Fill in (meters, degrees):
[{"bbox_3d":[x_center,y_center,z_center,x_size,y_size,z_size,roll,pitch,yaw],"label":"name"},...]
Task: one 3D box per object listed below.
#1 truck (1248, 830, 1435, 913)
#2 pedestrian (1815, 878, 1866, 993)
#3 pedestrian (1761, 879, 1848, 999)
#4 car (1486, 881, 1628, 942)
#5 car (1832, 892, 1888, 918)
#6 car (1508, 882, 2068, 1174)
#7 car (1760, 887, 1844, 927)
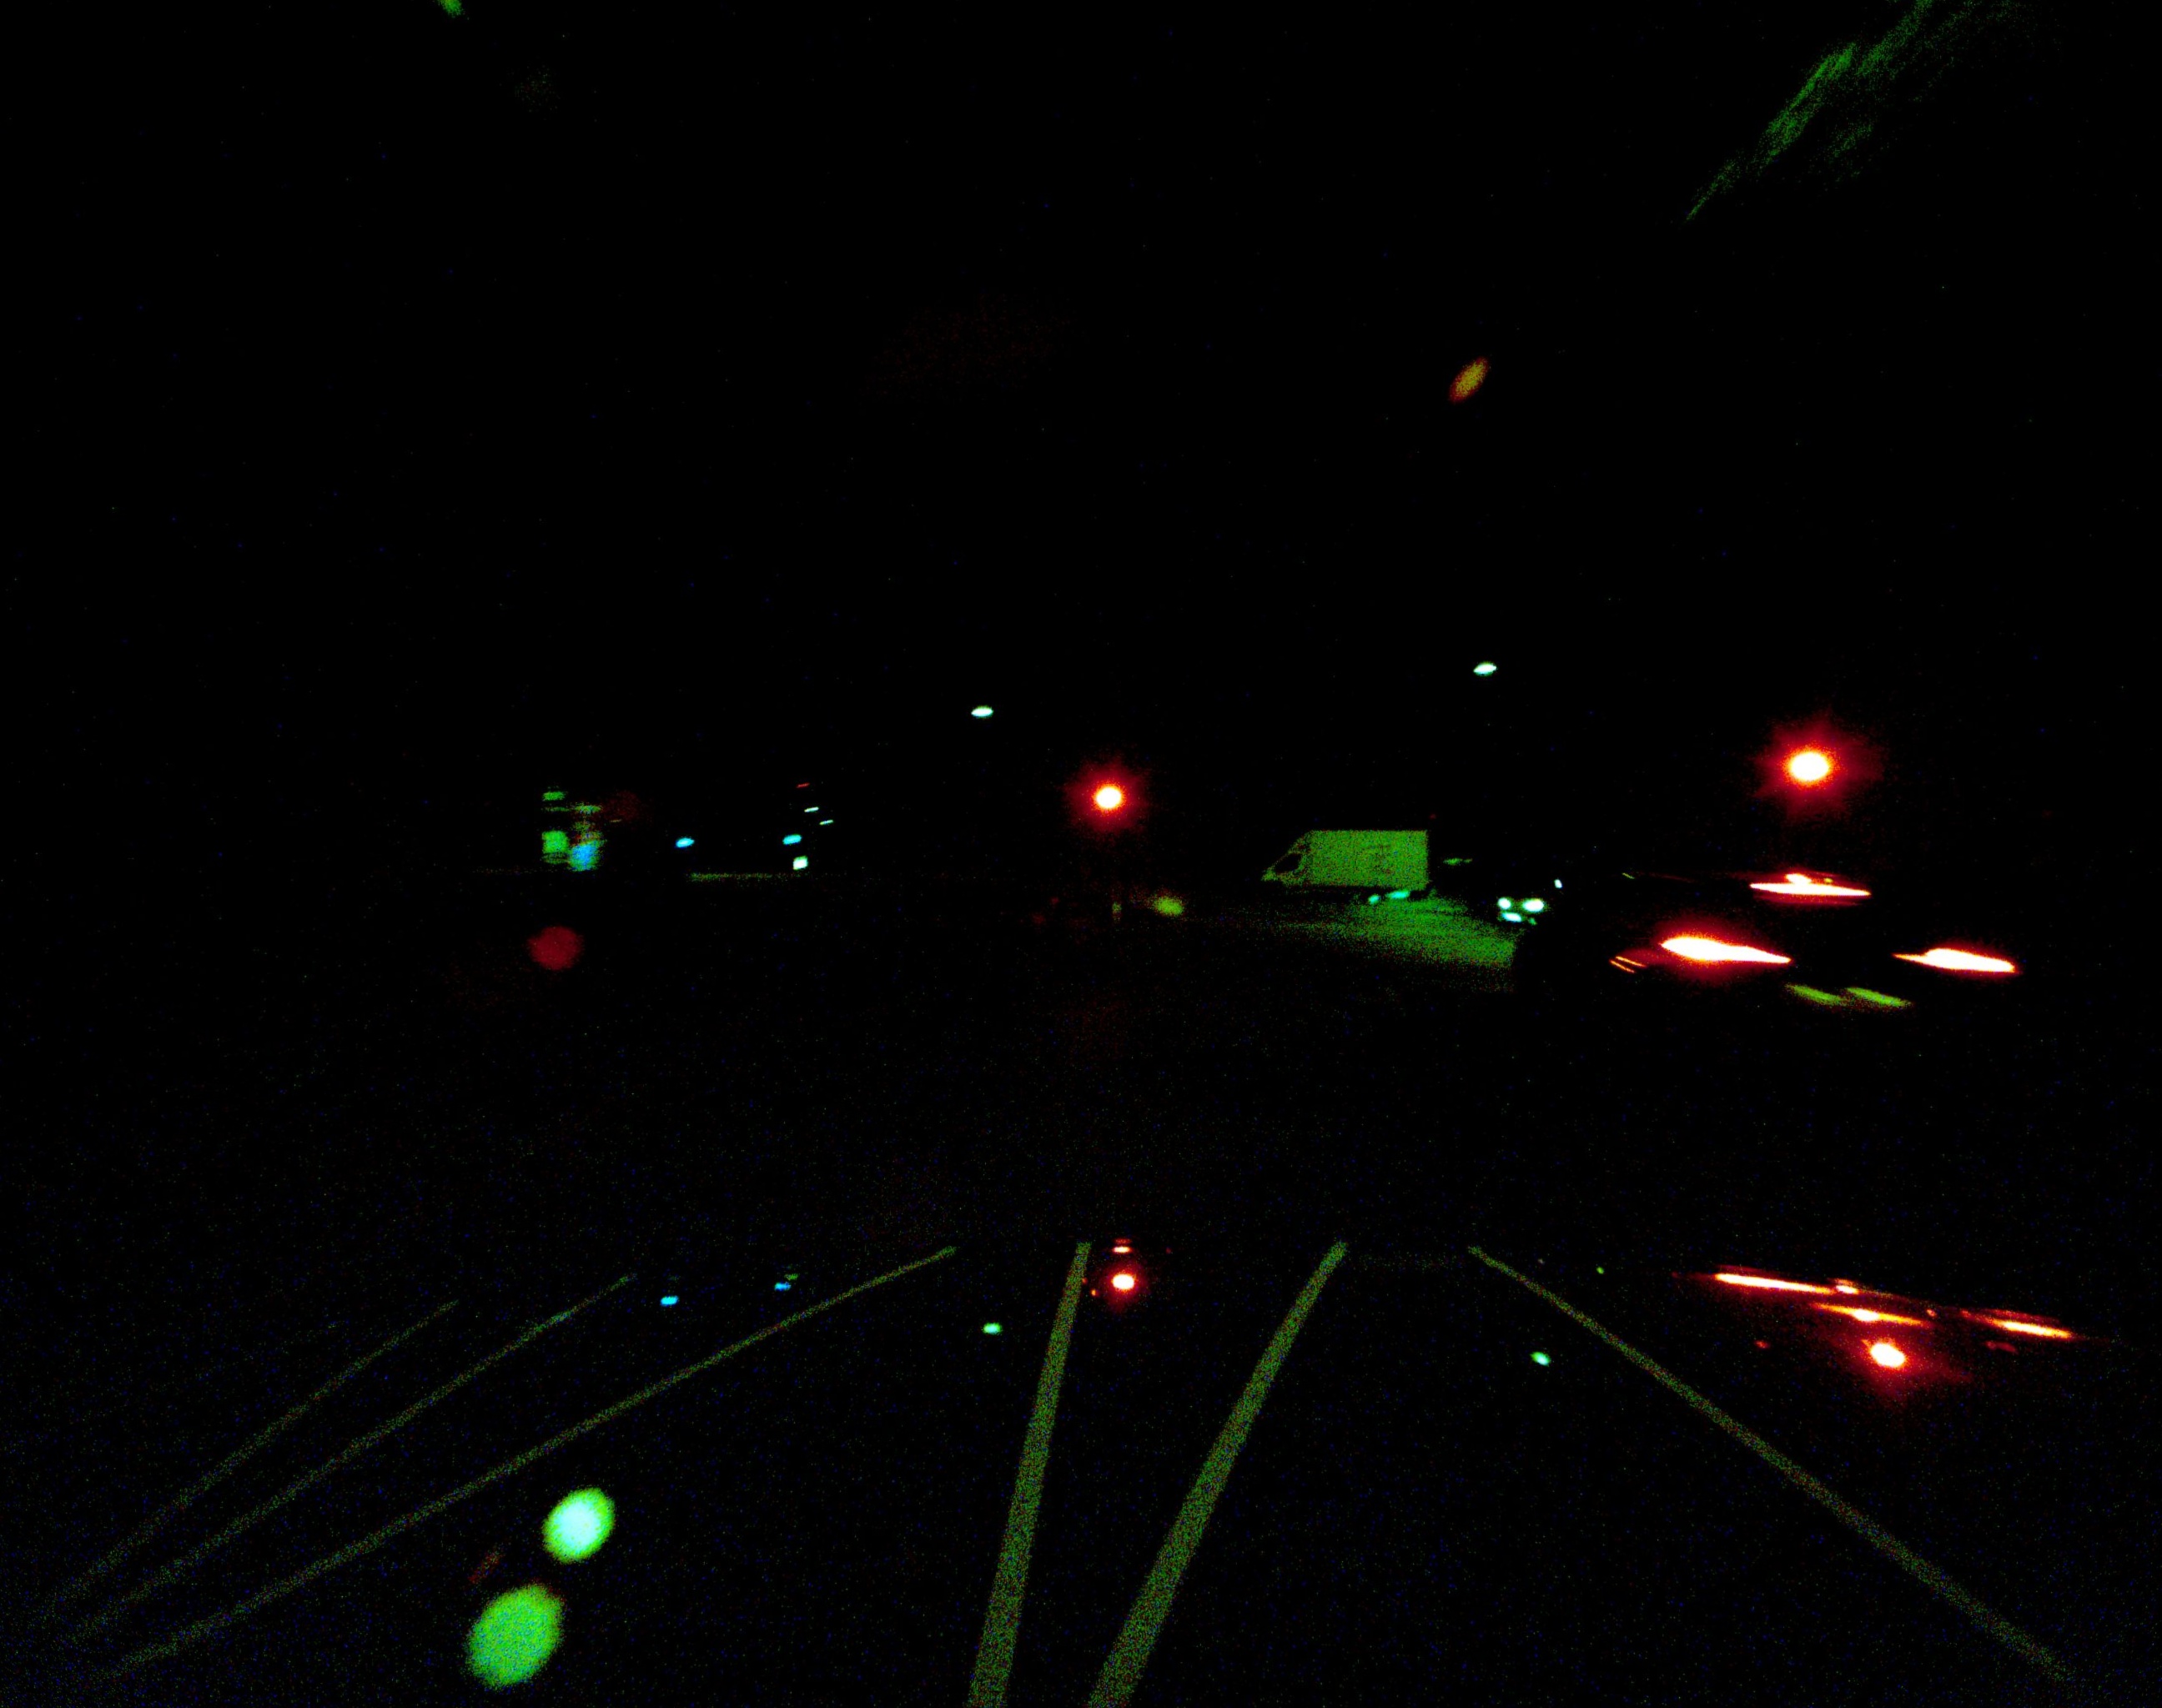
[{"bbox_3d":[10.798,0.598,31.609,7.017,3.028,2.777,2,3,25],"label":"truck"},{"bbox_3d":[12.317,1.300,12.332,0.522,1.781,0.694,2,-1,44],"label":"pedestrian"},{"bbox_3d":[11.331,1.299,11.939,0.727,1.758,0.967,2,-1,30],"label":"pedestrian"},{"bbox_3d":[12.945,1.547,20.739,3.051,1.492,1.513,3,-1,-12],"label":"car"},{"bbox_3d":[45.060,2.931,43.941,3.702,1.349,1.636,2,0,-35],"label":"car"},{"bbox_3d":[5.067,1.017,6.361,1.727,1.421,4.296,1,0,17],"label":"car"},{"bbox_3d":[32.142,2.308,34.000,2.047,1.546,4.265,1,-1,34],"label":"car"}]
